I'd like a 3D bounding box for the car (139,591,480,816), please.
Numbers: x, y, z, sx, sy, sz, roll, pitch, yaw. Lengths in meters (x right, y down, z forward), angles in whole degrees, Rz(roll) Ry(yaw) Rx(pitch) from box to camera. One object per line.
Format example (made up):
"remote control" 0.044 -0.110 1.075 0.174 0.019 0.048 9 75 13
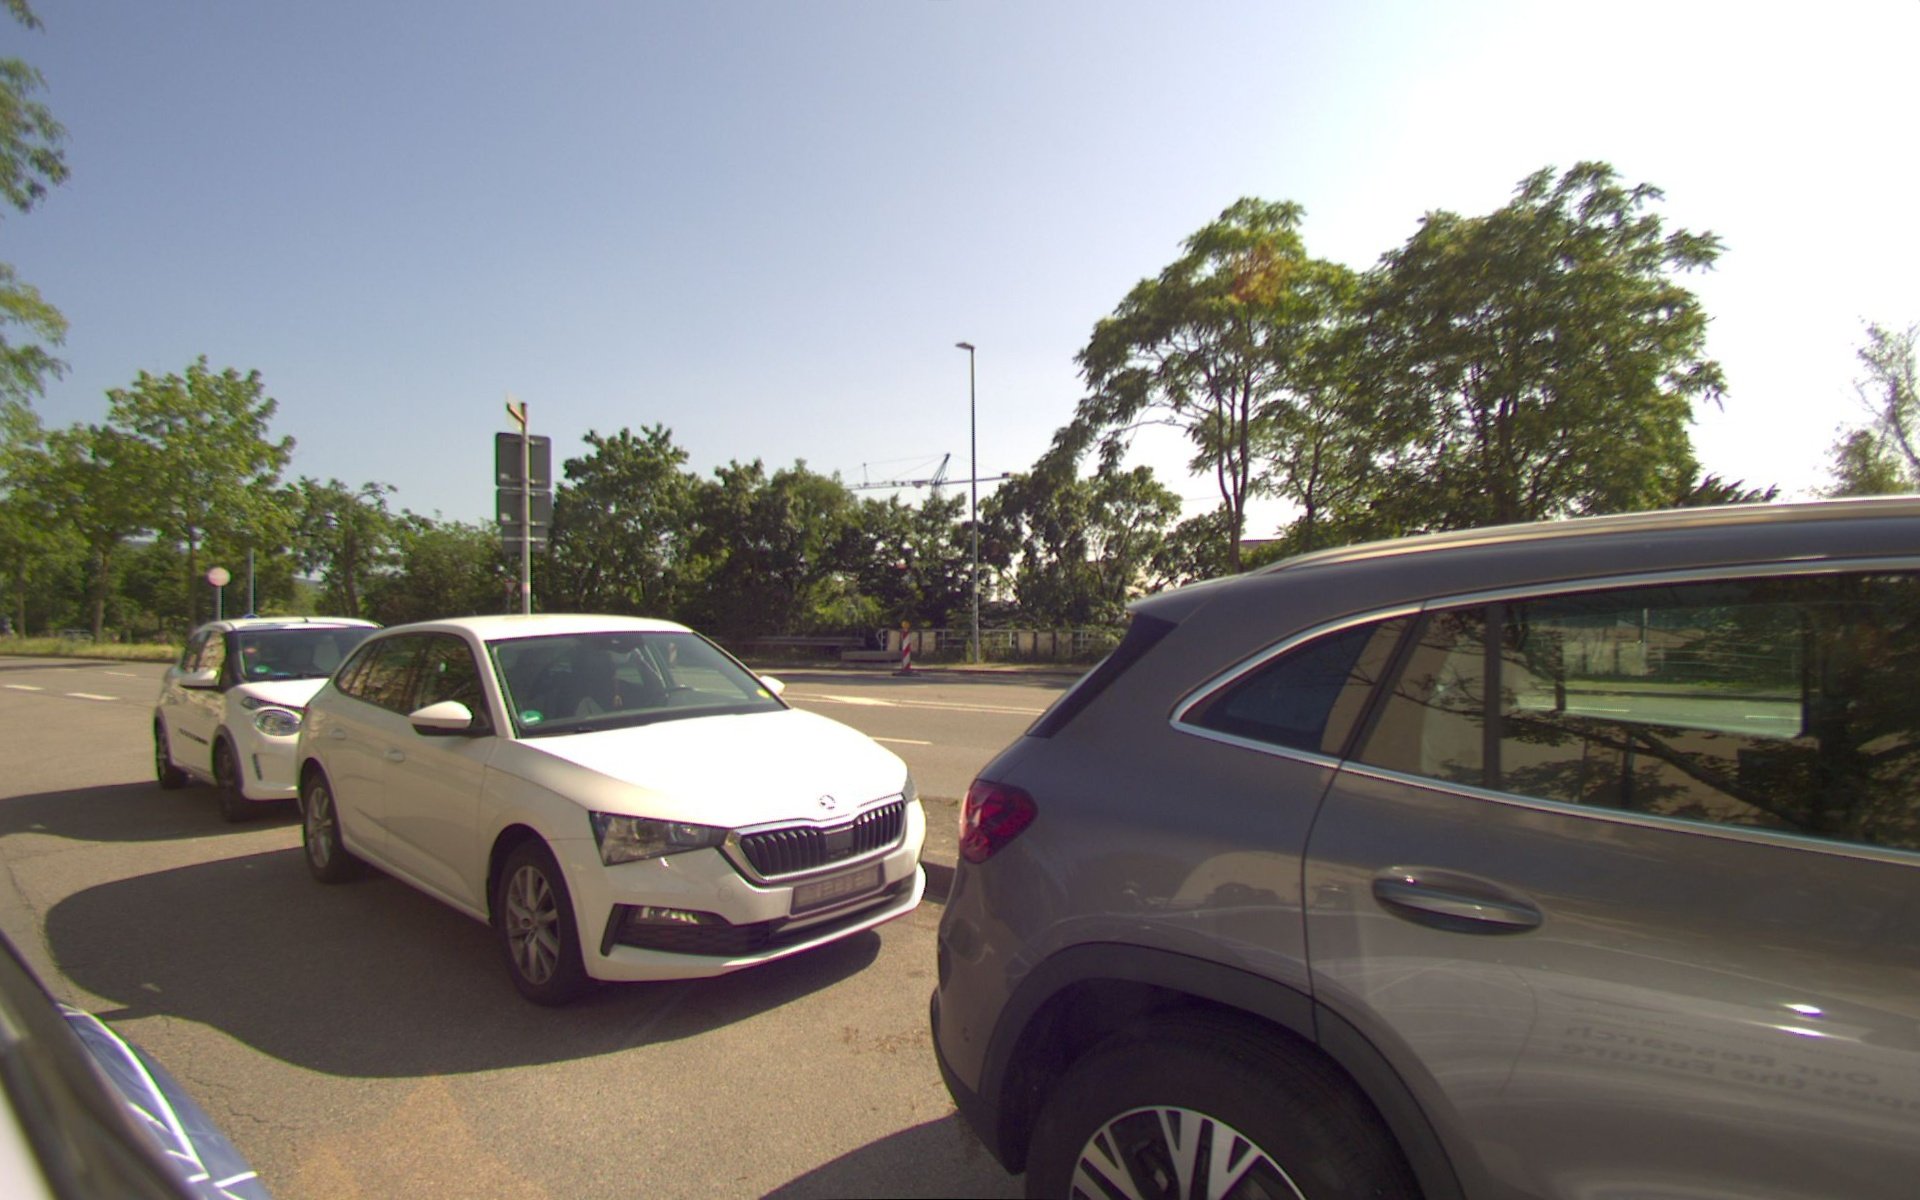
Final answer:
"car" -5.637 0.736 8.620 3.461 1.517 1.602 -2 -1 42

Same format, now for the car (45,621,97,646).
"car" -65.643 2.469 74.734 4.721 1.747 1.975 -1 -1 37

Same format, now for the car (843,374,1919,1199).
"car" 1.953 0.543 1.586 4.177 1.591 1.756 -2 -2 36

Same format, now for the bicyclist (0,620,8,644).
"bicyclist" -74.224 2.490 78.242 1.014 1.846 0.690 -1 -2 35

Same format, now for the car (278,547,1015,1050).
"car" -1.856 0.643 5.100 4.131 1.517 1.703 -1 -2 42
